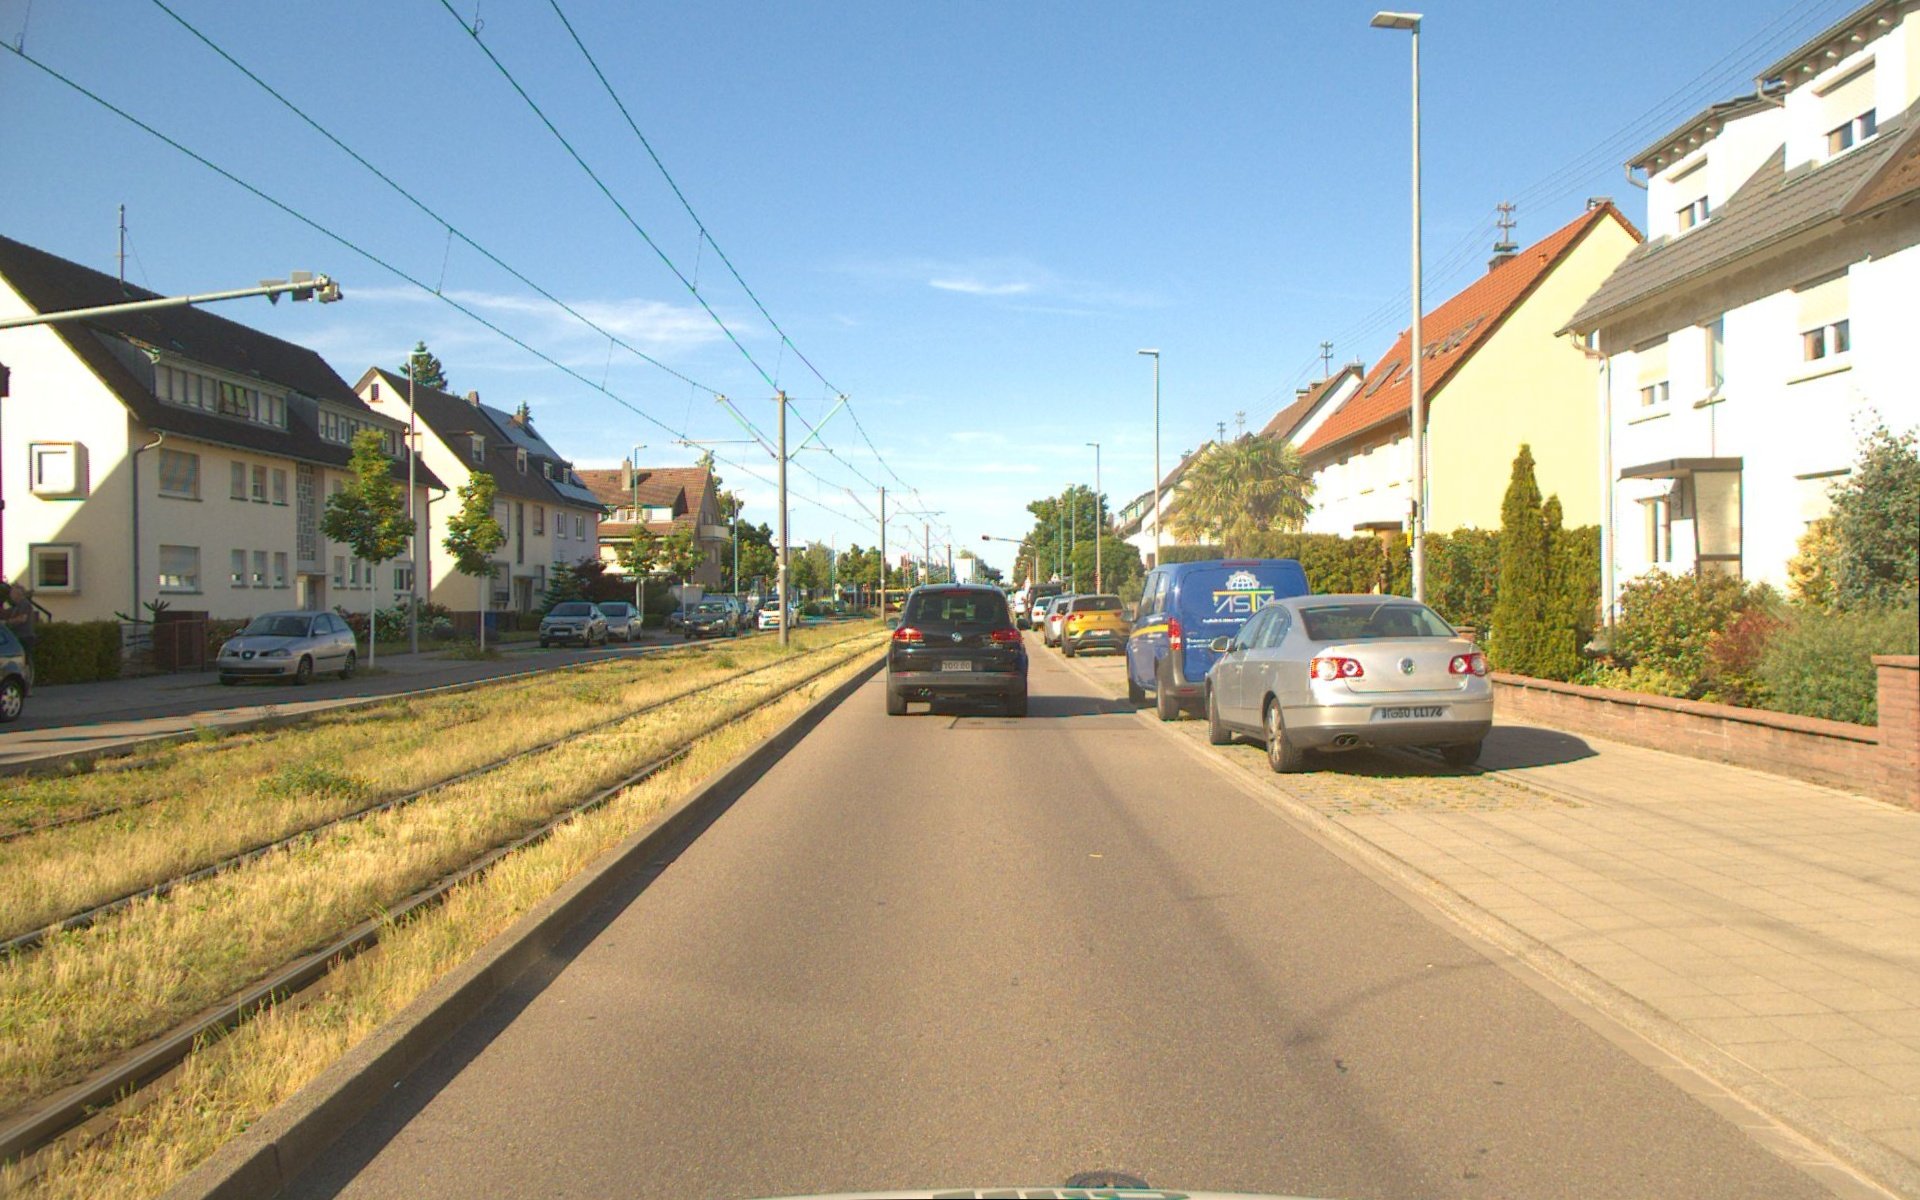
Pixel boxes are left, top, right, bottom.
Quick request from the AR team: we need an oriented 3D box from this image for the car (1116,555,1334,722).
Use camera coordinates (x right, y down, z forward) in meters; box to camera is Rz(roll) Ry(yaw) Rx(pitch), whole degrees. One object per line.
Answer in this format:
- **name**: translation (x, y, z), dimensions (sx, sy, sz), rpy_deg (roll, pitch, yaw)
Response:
- **car**: translation (3.301, 0.440, 21.596), dimensions (1.953, 1.894, 4.916), rpy_deg (-1, 0, -1)

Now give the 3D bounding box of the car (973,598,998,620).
- **car**: translation (1.739, 0.597, 111.763), dimensions (1.540, 1.415, 3.613), rpy_deg (-1, 0, -1)

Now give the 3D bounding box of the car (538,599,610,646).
- **car**: translation (-13.149, 0.752, 56.547), dimensions (1.625, 1.523, 3.579), rpy_deg (-1, 0, -1)

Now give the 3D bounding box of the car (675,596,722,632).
- **car**: translation (-12.424, 0.684, 78.755), dimensions (1.626, 1.609, 3.999), rpy_deg (-1, -2, -1)

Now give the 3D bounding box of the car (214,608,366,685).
- **car**: translation (-13.442, 0.937, 33.399), dimensions (1.586, 1.434, 3.716), rpy_deg (-1, -2, -1)

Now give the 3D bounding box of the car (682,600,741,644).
- **car**: translation (-10.127, 0.918, 67.575), dimensions (1.835, 1.684, 3.999), rpy_deg (-1, -2, -1)

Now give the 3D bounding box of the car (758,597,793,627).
- **car**: translation (-9.324, 0.608, 83.792), dimensions (1.435, 1.479, 3.286), rpy_deg (-1, -1, -1)

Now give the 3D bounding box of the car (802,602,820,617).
- **car**: translation (-14.396, 0.925, 159.886), dimensions (1.435, 1.479, 3.286), rpy_deg (-1, -1, -1)

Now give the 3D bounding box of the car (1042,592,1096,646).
- **car**: translation (3.330, 0.549, 51.090), dimensions (1.422, 1.579, 3.829), rpy_deg (-1, 0, 0)

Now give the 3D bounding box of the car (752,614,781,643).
- **car**: translation (-11.901, 1.751, 101.714), dimensions (1.435, 1.706, 3.286), rpy_deg (-1, -1, -1)

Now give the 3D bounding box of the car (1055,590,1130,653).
- **car**: translation (3.466, 0.549, 43.762), dimensions (1.611, 1.561, 3.863), rpy_deg (-1, 0, -1)

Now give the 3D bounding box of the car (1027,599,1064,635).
- **car**: translation (3.766, 0.725, 73.262), dimensions (1.412, 1.503, 3.864), rpy_deg (-1, 0, 0)

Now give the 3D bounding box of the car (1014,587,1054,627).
- **car**: translation (3.573, 0.320, 80.329), dimensions (1.734, 1.876, 3.864), rpy_deg (-1, 0, 0)

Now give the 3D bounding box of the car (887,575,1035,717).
- **car**: translation (-0.057, 0.585, 22.341), dimensions (1.775, 1.700, 4.256), rpy_deg (1, -1, -2)

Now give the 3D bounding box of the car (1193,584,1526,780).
- **car**: translation (3.460, 0.639, 15.225), dimensions (1.750, 1.466, 4.457), rpy_deg (-2, 0, -3)

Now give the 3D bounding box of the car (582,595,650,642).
- **car**: translation (-13.013, 0.676, 62.709), dimensions (1.766, 1.660, 3.999), rpy_deg (-1, 0, -1)

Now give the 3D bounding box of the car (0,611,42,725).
- **car**: translation (-13.391, 0.920, 20.650), dimensions (1.585, 1.478, 3.719), rpy_deg (-1, 0, 4)

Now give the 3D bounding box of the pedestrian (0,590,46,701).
- **pedestrian**: translation (-15.264, 0.735, 26.908), dimensions (0.459, 1.776, 0.535), rpy_deg (-1, 0, -2)

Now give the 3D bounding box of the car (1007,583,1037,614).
- **car**: translation (3.813, -0.116, 102.357), dimensions (1.734, 1.853, 3.864), rpy_deg (-1, 0, 0)
